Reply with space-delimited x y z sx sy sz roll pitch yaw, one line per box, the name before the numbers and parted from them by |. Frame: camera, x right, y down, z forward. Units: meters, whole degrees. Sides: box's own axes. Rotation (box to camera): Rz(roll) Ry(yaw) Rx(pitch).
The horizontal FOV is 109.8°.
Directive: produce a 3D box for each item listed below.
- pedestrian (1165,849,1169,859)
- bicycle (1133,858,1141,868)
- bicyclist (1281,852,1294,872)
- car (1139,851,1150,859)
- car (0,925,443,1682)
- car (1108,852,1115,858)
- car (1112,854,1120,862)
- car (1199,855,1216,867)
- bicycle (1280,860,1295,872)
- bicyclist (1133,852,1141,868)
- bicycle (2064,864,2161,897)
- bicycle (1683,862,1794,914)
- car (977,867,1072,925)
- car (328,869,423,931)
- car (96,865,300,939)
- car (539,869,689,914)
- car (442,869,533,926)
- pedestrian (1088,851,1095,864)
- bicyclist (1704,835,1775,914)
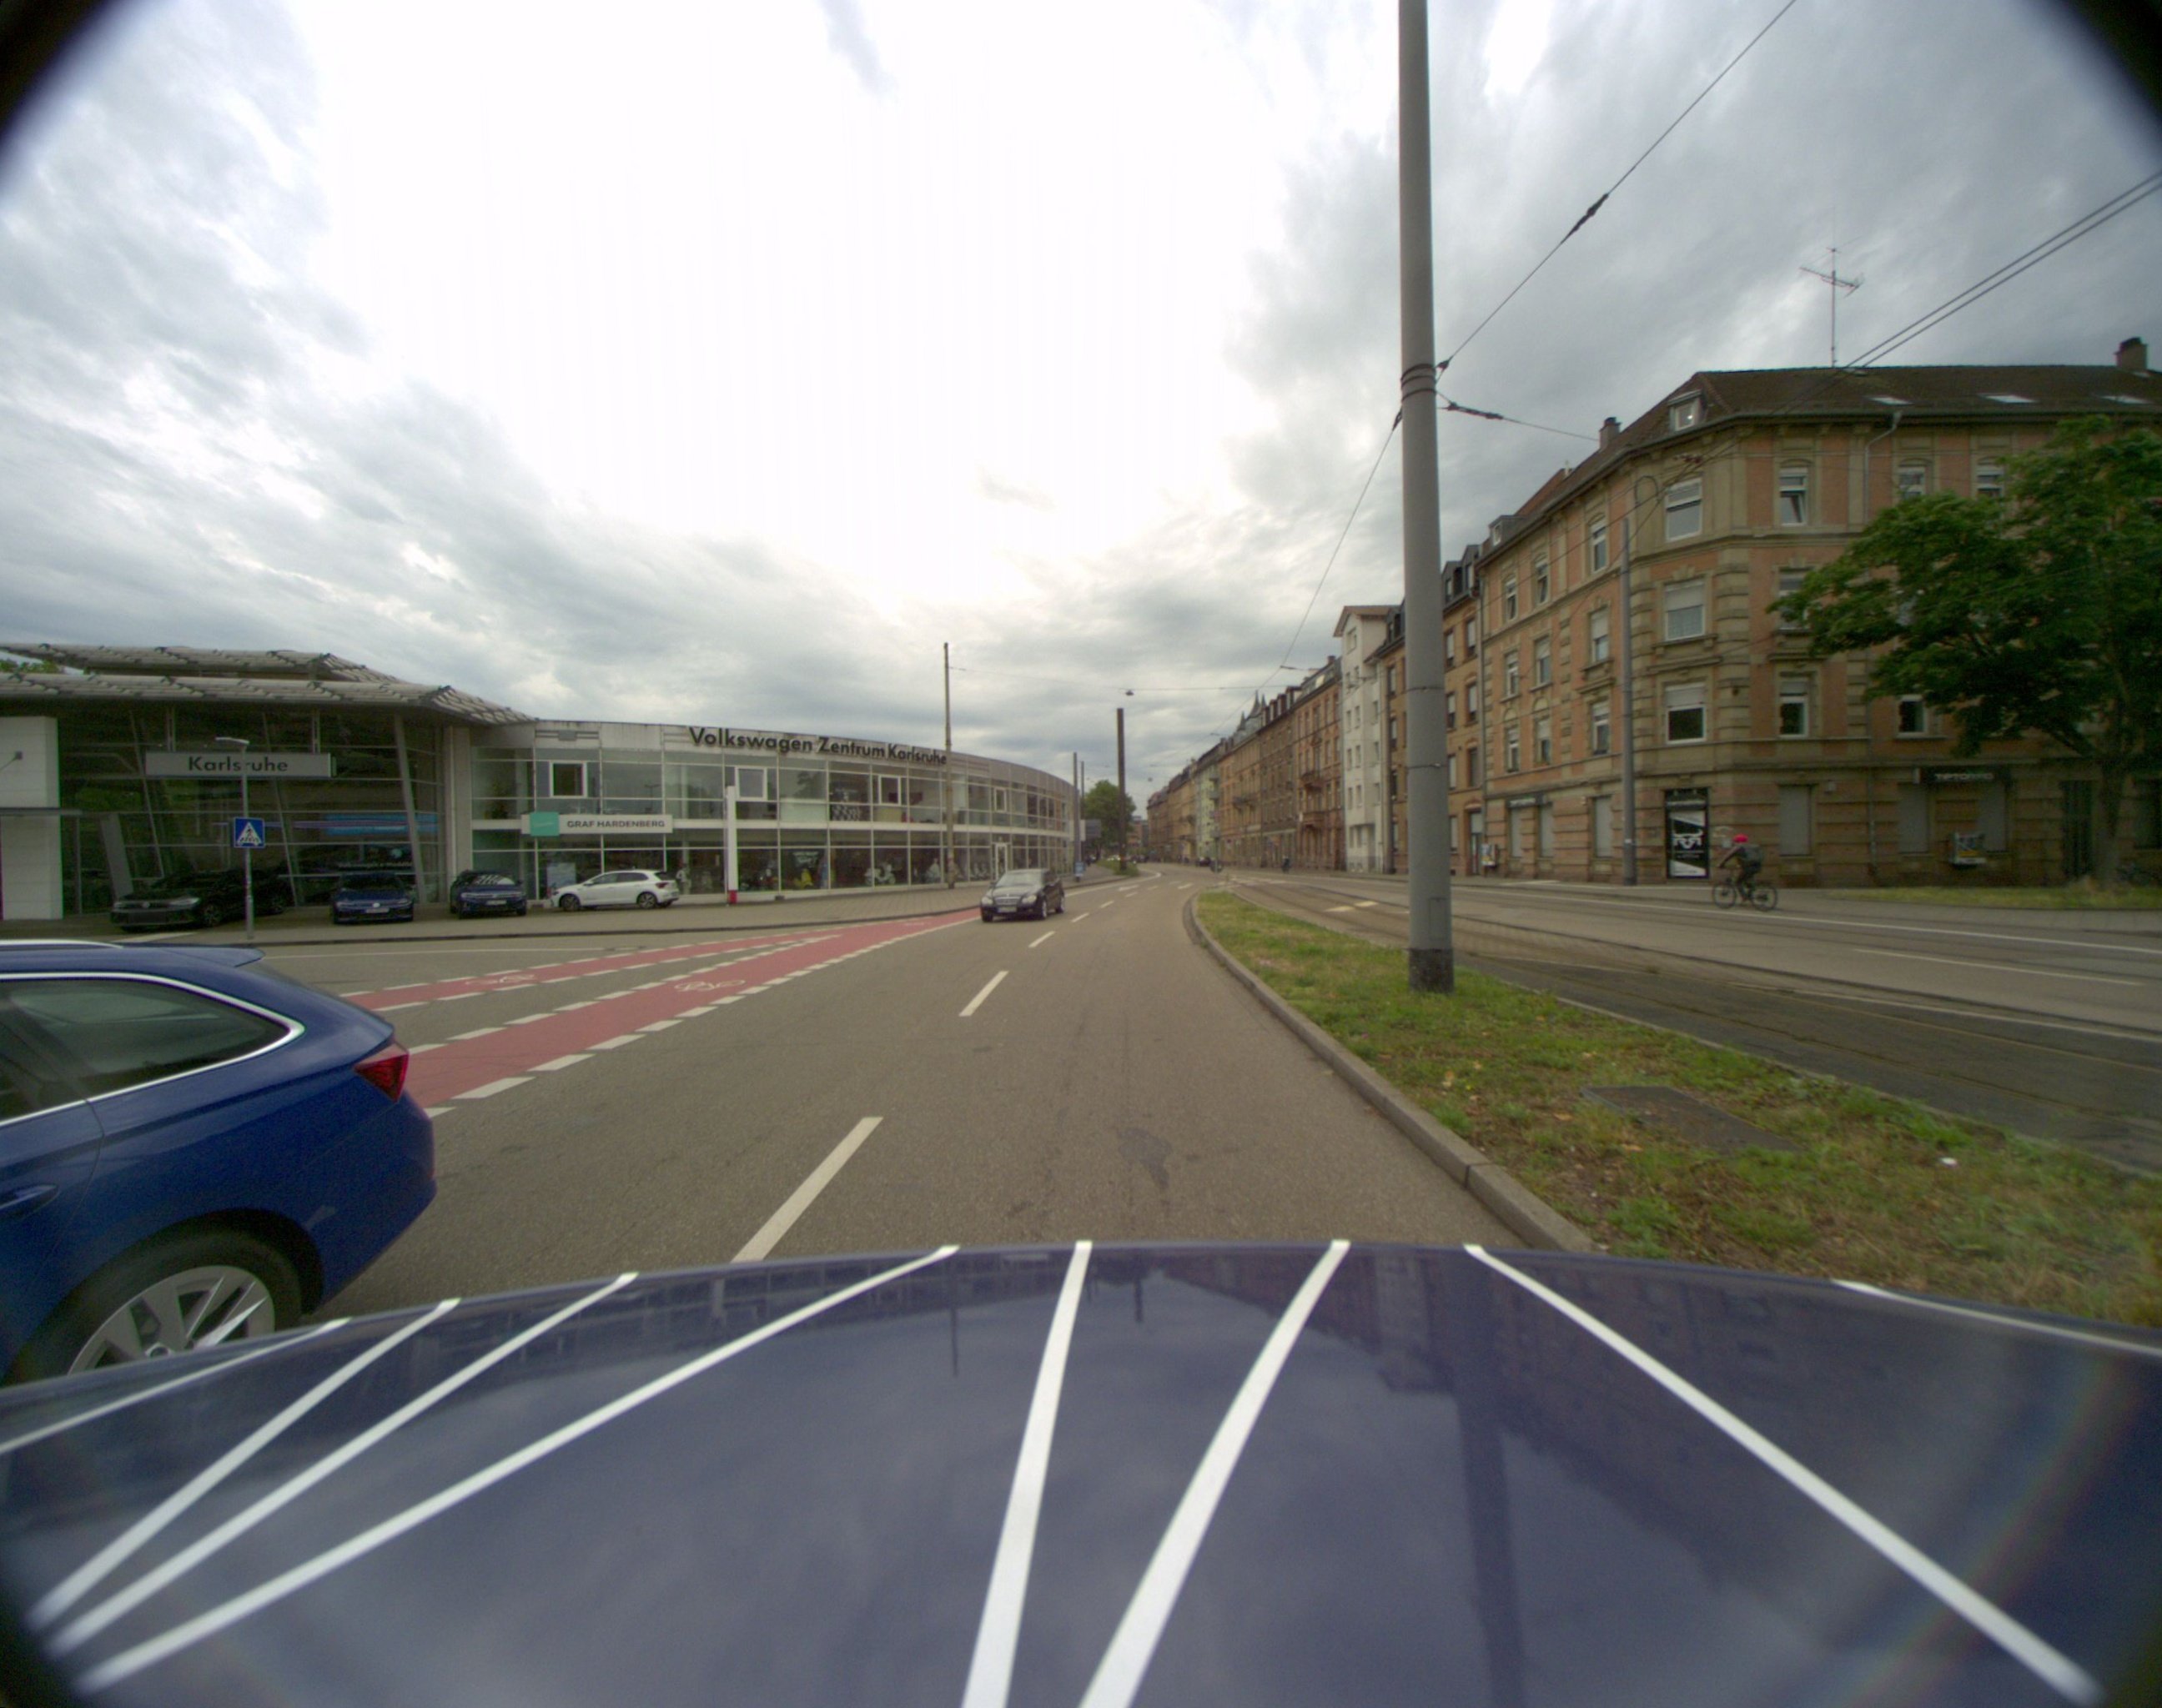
pedestrian | 17.050 0.011 150.377 0.814 2.002 0.733 -1 1 1
bicycle | 6.118 0.992 82.931 0.727 1.003 2.177 -1 0 7
bicyclist | 16.315 0.627 60.097 0.663 1.485 0.942 -1 1 -3
car | 12.973 0.163 155.240 1.802 1.630 4.230 -1 0 1
car | -3.185 1.026 0.447 1.784 1.480 4.465 -1 1 0
car | 7.842 0.263 194.239 1.802 1.630 4.230 -1 0 1
car | 7.982 0.942 172.954 1.802 1.630 4.230 -1 0 1
car | 17.170 0.944 102.996 1.852 1.471 3.828 -1 0 3
bicycle | 16.304 0.943 60.143 0.607 0.910 1.719 -1 0 -4
bicyclist | 6.111 0.646 82.987 0.730 1.747 0.911 -1 1 7
bicycle | 30.377 0.780 22.177 0.662 0.909 1.989 0 -2 -6
bicycle | 16.170 0.799 18.783 0.826 1.201 2.234 0 0 0
car | -1.503 1.139 21.847 1.713 1.413 4.073 -1 0 11
car | -22.195 1.359 23.856 4.325 1.496 1.862 3 3 43
car | -26.475 1.340 23.075 1.862 1.624 4.500 -3 4 -18
car | -16.991 1.333 27.851 4.263 1.444 1.782 -1 0 -9
car | -20.109 1.389 25.684 1.905 1.554 4.207 -2 3 -45
pedestrian | 1.489 0.471 106.732 0.871 1.843 0.706 -1 1 1
bicyclist | 16.173 0.496 18.683 0.831 1.881 1.049 0 0 0
